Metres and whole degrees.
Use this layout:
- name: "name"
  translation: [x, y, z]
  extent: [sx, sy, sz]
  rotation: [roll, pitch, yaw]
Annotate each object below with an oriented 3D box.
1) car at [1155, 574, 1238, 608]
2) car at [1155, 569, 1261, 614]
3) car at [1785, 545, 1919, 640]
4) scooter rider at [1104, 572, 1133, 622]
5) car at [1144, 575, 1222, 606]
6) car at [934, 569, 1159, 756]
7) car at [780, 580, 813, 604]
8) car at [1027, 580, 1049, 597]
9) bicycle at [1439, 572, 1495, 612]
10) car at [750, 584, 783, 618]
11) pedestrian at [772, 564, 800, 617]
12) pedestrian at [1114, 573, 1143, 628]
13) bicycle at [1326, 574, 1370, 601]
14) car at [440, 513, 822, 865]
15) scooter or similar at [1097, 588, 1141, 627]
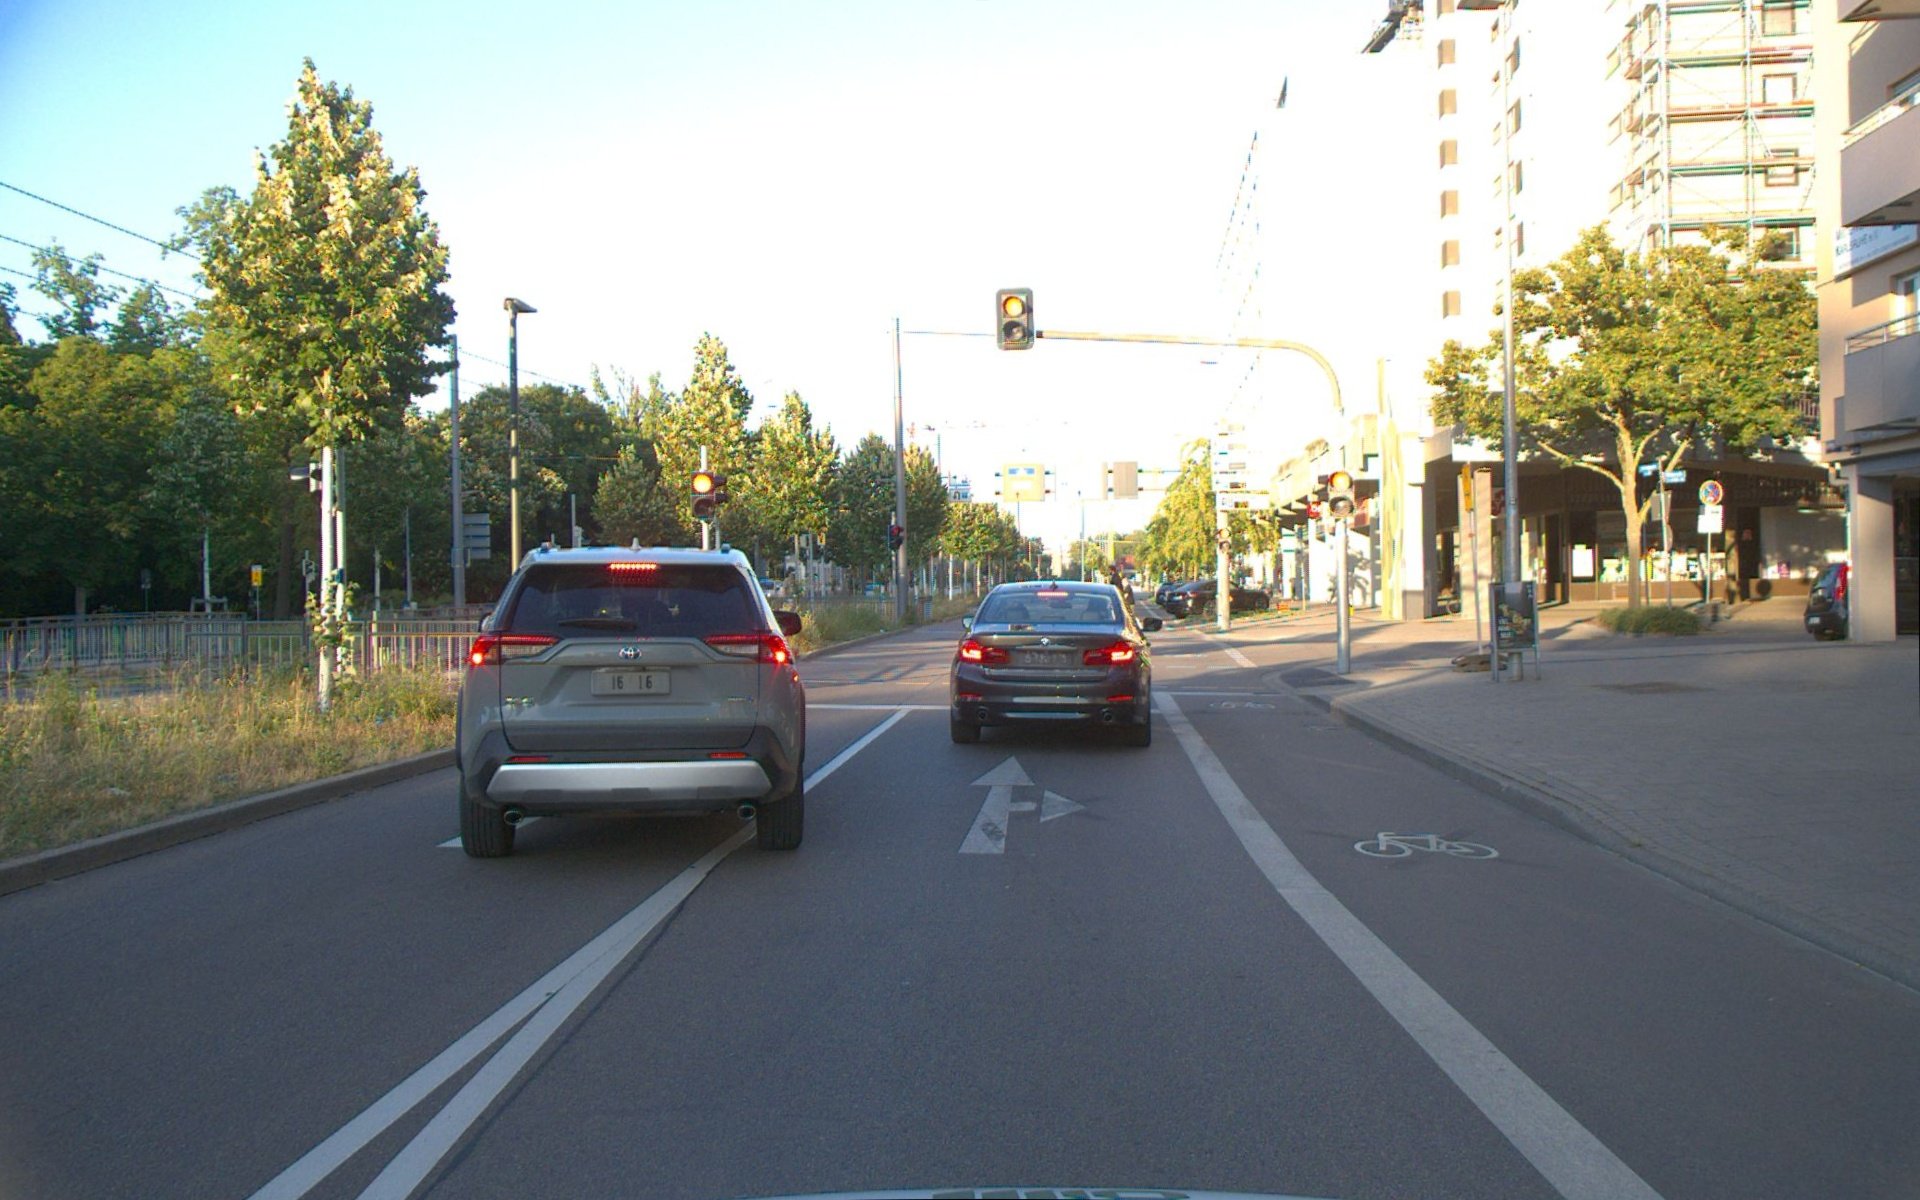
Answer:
- name: "car"
  translation: [12.588, -0.498, 87.995]
  extent: [4.213, 1.687, 1.840]
  rotation: [-1, 2, -32]
- name: "car"
  translation: [9.929, -0.385, 66.046]
  extent: [4.227, 1.687, 1.835]
  rotation: [-1, 2, -39]
- name: "car"
  translation: [17.621, -0.170, 30.447]
  extent: [3.955, 1.613, 1.707]
  rotation: [-3, -3, 8]
- name: "scooter rider"
  translation: [4.955, -0.083, 51.800]
  extent: [0.804, 1.540, 0.652]
  rotation: [-1, 0, -3]
- name: "car"
  translation: [12.745, -0.551, 94.351]
  extent: [4.212, 1.687, 1.841]
  rotation: [-1, 2, -32]
- name: "car"
  translation: [0.928, 0.483, 16.223]
  extent: [1.891, 1.507, 4.526]
  rotation: [0, 2, 5]
- name: "car"
  translation: [-12.622, -0.634, 127.951]
  extent: [1.952, 1.775, 4.753]
  rotation: [0, 2, 2]
- name: "car"
  translation: [7.398, -1.123, 156.579]
  extent: [1.937, 1.458, 4.846]
  rotation: [0, 2, 4]
- name: "bicycle"
  translation: [15.402, -0.249, 50.298]
  extent: [0.677, 1.169, 2.015]
  rotation: [2, 0, -15]
- name: "car"
  translation: [-13.440, 0.062, 115.080]
  extent: [1.953, 2.205, 4.749]
  rotation: [0, 2, -2]
- name: "pedestrian"
  translation: [-5.878, -0.322, 55.782]
  extent: [0.817, 1.742, 0.648]
  rotation: [-1, 0, 2]
- name: "pedestrian"
  translation: [5.014, 0.004, 49.272]
  extent: [0.817, 1.614, 0.812]
  rotation: [-1, 0, 7]
- name: "bicycle"
  translation: [18.244, -0.593, 77.821]
  extent: [1.973, 1.169, 0.691]
  rotation: [2, 0, 10]
- name: "car"
  translation: [-1.881, 0.354, 10.167]
  extent: [1.820, 1.687, 4.261]
  rotation: [0, 2, -8]
- name: "scooter or similar"
  translation: [4.968, 0.221, 51.771]
  extent: [1.303, 1.173, 0.513]
  rotation: [-1, 0, -3]
